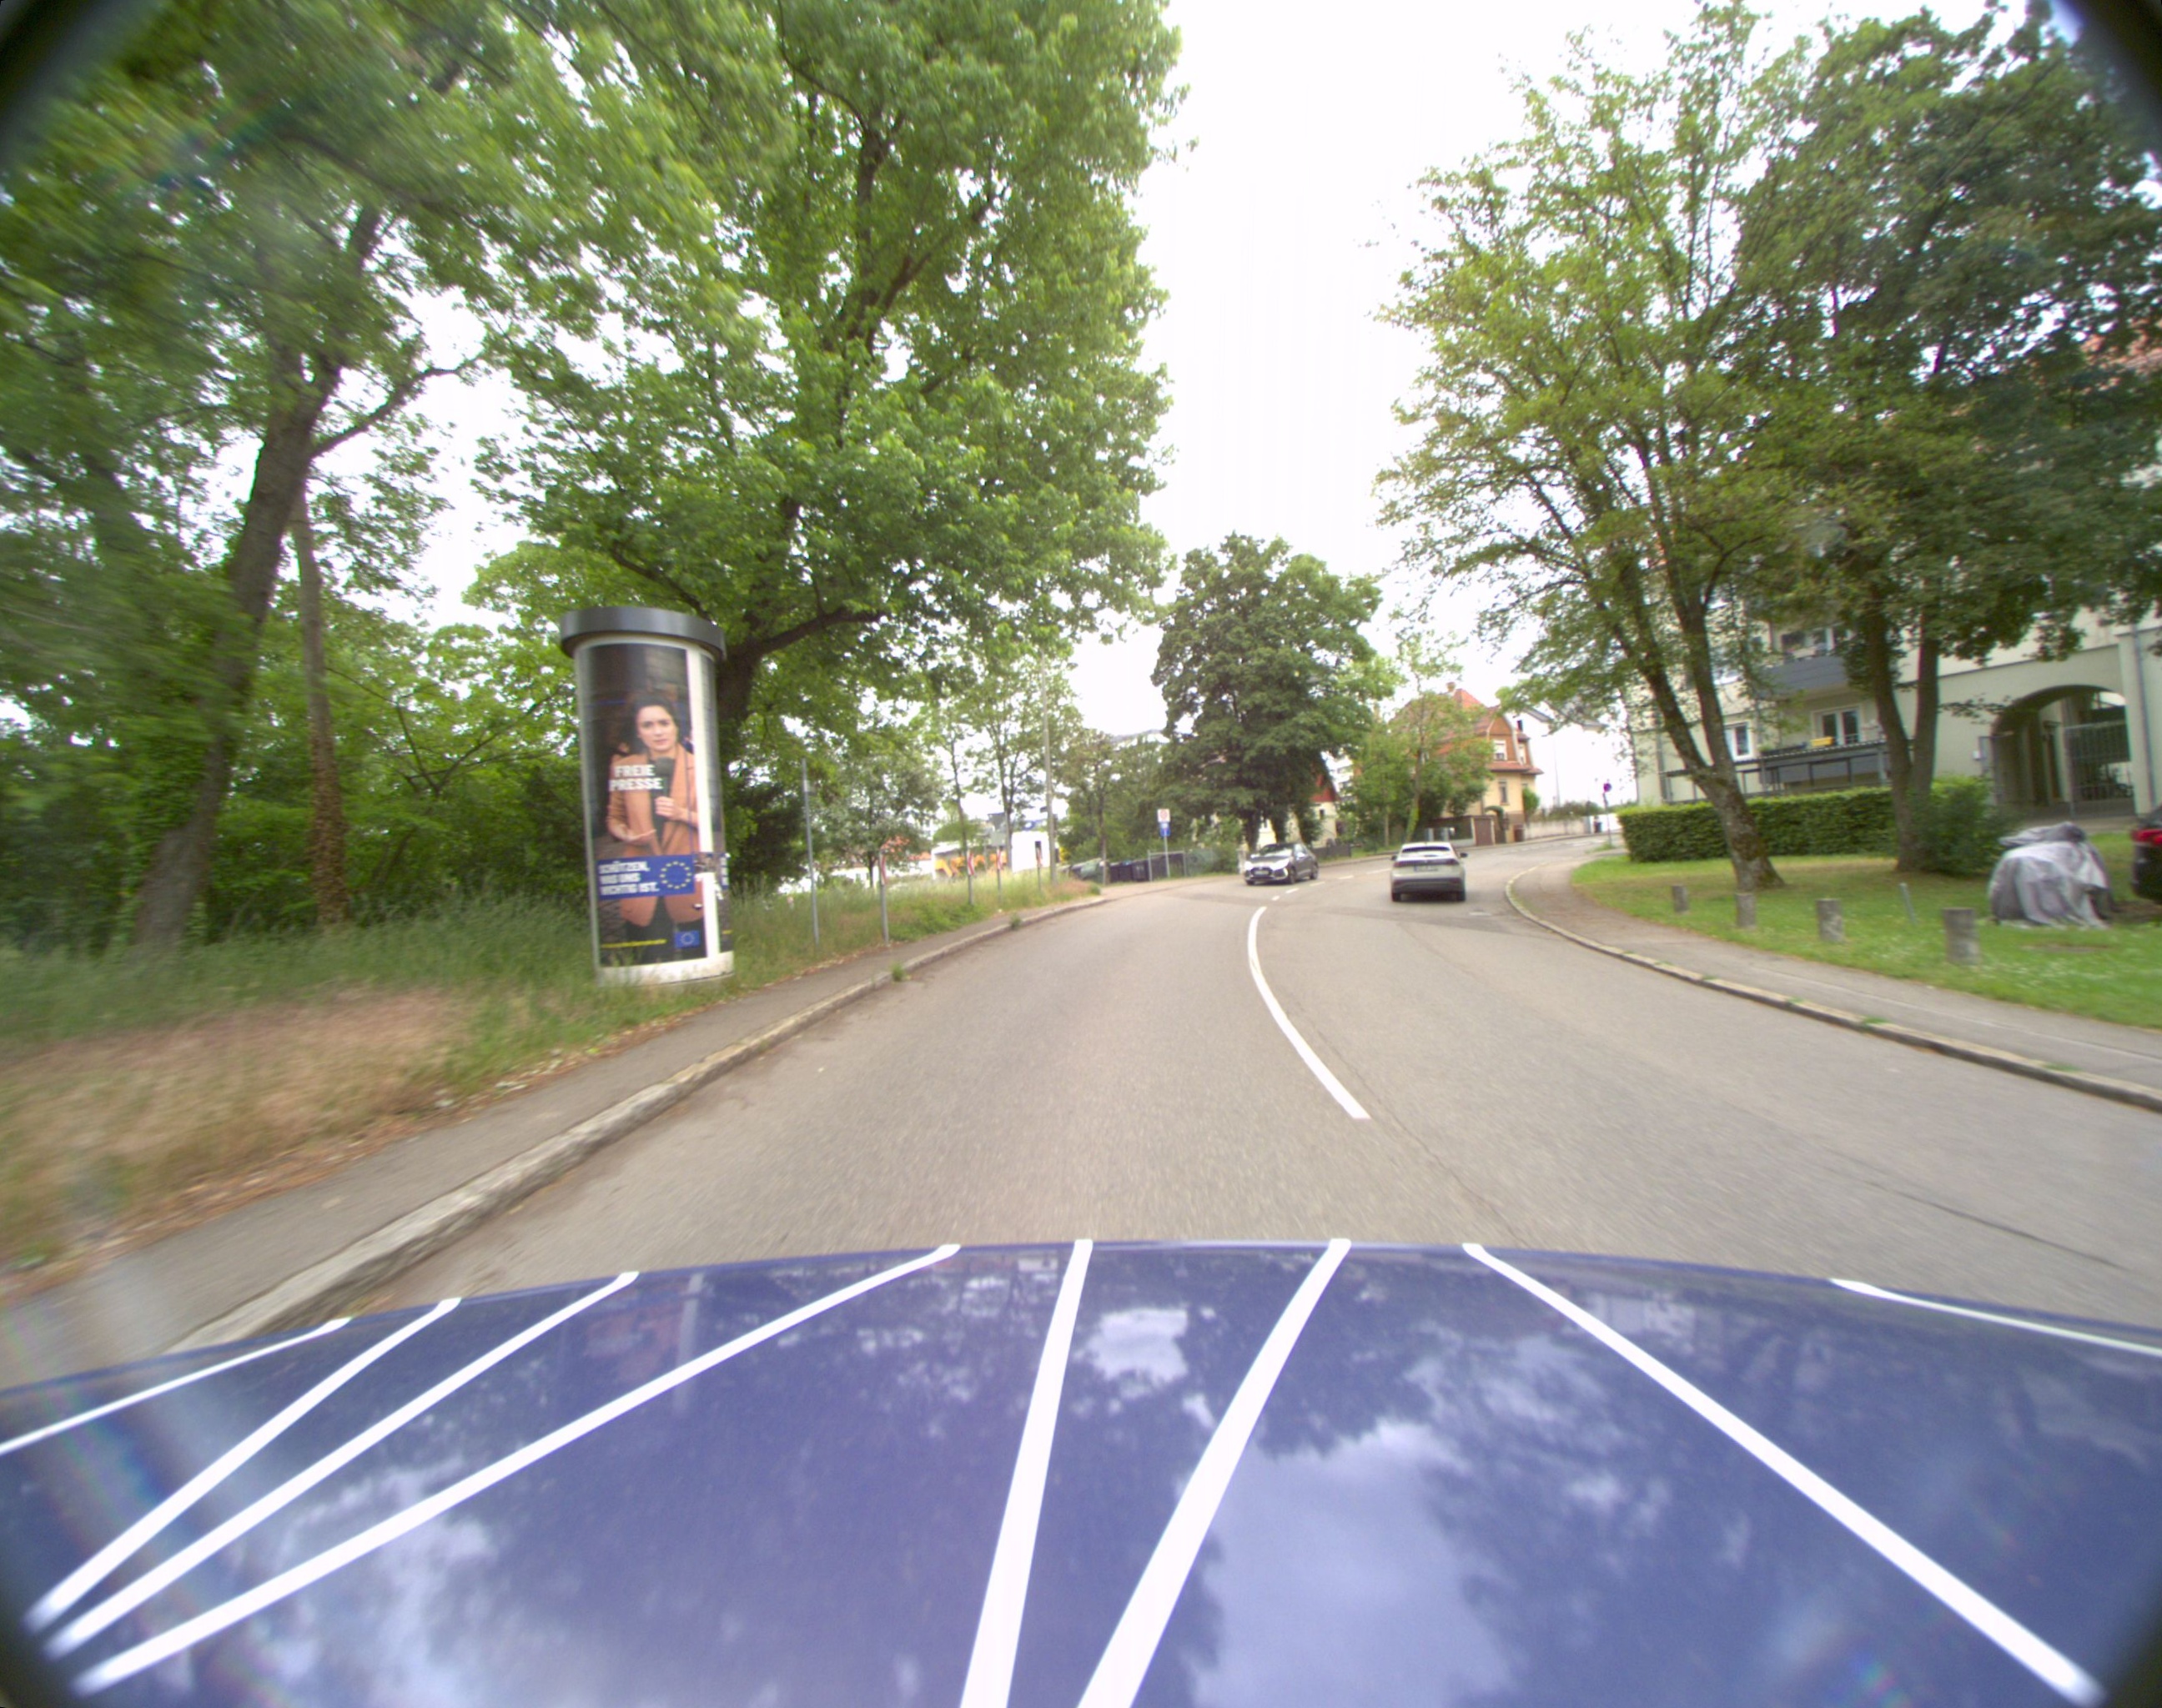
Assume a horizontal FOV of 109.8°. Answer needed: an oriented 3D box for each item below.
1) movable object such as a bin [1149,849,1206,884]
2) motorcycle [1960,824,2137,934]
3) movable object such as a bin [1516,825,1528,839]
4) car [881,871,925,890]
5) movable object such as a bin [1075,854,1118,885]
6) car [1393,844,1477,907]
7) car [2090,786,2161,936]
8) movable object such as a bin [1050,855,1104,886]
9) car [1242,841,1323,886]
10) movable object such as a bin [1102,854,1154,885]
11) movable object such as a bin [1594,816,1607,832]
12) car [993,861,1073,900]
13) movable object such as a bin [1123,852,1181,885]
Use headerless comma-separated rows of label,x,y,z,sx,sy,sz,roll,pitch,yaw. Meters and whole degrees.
movable object such as a bin,5.460,0.714,43.069,2.211,1.776,2.105,-5,0,-38
motorcycle,12.116,0.281,9.513,2.069,1.145,0.863,-5,1,-24
movable object such as a bin,30.452,-1.525,52.490,0.567,0.919,0.461,-5,3,-31
car,-38.712,5.723,165.472,8.291,3.362,3.996,-6,0,-34
movable object such as a bin,0.841,0.851,41.452,1.678,1.538,1.423,-4,0,-41
car,9.254,0.485,20.142,1.726,1.449,4.084,-1,1,21
car,13.041,-0.029,6.912,1.749,1.584,4.325,-5,0,-25
movable object such as a bin,-0.239,0.953,43.592,1.449,1.538,2.890,-4,0,-41
car,7.444,0.325,27.862,1.643,1.390,3.788,-2,2,35
movable object such as a bin,2.906,0.960,47.227,2.211,1.722,2.230,-5,0,-38
movable object such as a bin,39.412,-2.278,57.639,0.635,1.172,0.528,-5,3,-31
car,-2.422,1.347,38.076,3.665,1.389,1.834,-11,-3,44
movable object such as a bin,4.191,0.849,45.216,2.211,1.703,2.494,-5,0,-38
